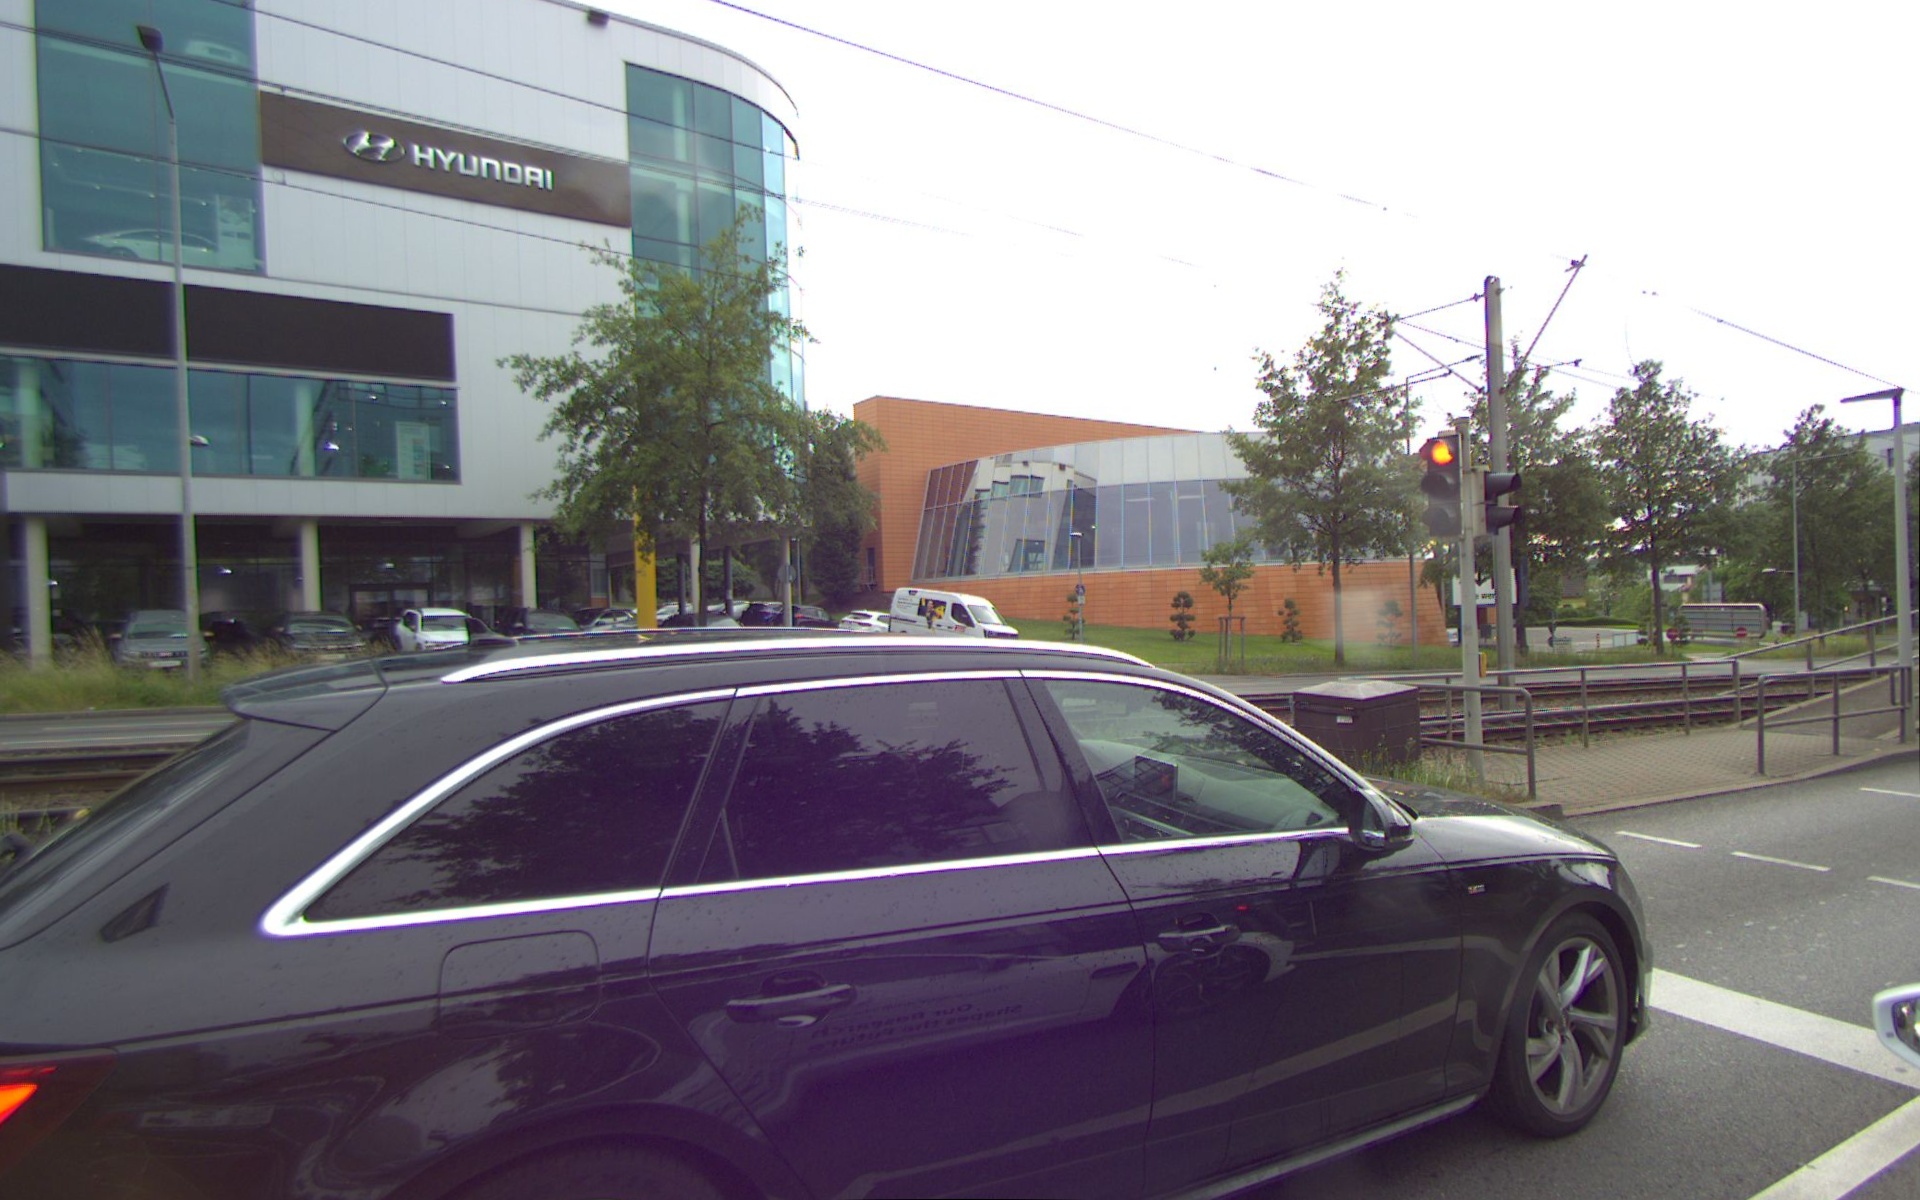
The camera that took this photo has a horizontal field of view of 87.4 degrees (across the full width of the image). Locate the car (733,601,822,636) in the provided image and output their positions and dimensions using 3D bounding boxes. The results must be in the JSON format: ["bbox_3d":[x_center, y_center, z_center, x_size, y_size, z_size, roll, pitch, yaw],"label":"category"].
[{"bbox_3d":[-8.873,0.905,49.085,1.969,1.653,3.982,0,-1,39],"label":"car"}]

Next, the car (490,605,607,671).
[{"bbox_3d":[-12.287,1.074,29.870,1.984,1.637,4.324,1,1,-40],"label":"car"}]

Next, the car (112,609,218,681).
[{"bbox_3d":[-19.871,1.055,25.071,1.917,1.479,3.974,1,1,-40],"label":"car"}]

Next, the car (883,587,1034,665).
[{"bbox_3d":[-0.124,0.910,38.117,5.544,2.616,2.392,3,1,43],"label":"car"}]

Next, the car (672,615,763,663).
[{"bbox_3d":[-7.736,1.197,31.793,1.565,1.409,3.619,0,-1,-36],"label":"car"}]

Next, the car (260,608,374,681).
[{"bbox_3d":[-16.962,1.102,26.397,1.984,1.571,4.324,1,1,-40],"label":"car"}]

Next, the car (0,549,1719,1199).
[{"bbox_3d":[0.107,0.719,2.889,4.461,1.486,1.772,1,-1,-31],"label":"car"}]

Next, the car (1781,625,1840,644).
[{"bbox_3d":[66.464,2.704,78.534,1.408,1.405,3.371,0,0,-13],"label":"car"}]

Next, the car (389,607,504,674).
[{"bbox_3d":[-14.504,1.071,28.253,1.984,1.571,4.324,1,1,-40],"label":"car"}]

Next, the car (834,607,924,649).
[{"bbox_3d":[-3.344,1.158,42.166,1.703,1.688,3.734,1,-1,38],"label":"car"}]

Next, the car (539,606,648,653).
[{"bbox_3d":[-12.837,1.008,35.347,1.691,1.572,3.587,0,-1,20],"label":"car"}]

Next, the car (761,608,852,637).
[{"bbox_3d":[-7.222,1.059,47.521,1.969,1.297,3.982,0,-1,39],"label":"car"}]
